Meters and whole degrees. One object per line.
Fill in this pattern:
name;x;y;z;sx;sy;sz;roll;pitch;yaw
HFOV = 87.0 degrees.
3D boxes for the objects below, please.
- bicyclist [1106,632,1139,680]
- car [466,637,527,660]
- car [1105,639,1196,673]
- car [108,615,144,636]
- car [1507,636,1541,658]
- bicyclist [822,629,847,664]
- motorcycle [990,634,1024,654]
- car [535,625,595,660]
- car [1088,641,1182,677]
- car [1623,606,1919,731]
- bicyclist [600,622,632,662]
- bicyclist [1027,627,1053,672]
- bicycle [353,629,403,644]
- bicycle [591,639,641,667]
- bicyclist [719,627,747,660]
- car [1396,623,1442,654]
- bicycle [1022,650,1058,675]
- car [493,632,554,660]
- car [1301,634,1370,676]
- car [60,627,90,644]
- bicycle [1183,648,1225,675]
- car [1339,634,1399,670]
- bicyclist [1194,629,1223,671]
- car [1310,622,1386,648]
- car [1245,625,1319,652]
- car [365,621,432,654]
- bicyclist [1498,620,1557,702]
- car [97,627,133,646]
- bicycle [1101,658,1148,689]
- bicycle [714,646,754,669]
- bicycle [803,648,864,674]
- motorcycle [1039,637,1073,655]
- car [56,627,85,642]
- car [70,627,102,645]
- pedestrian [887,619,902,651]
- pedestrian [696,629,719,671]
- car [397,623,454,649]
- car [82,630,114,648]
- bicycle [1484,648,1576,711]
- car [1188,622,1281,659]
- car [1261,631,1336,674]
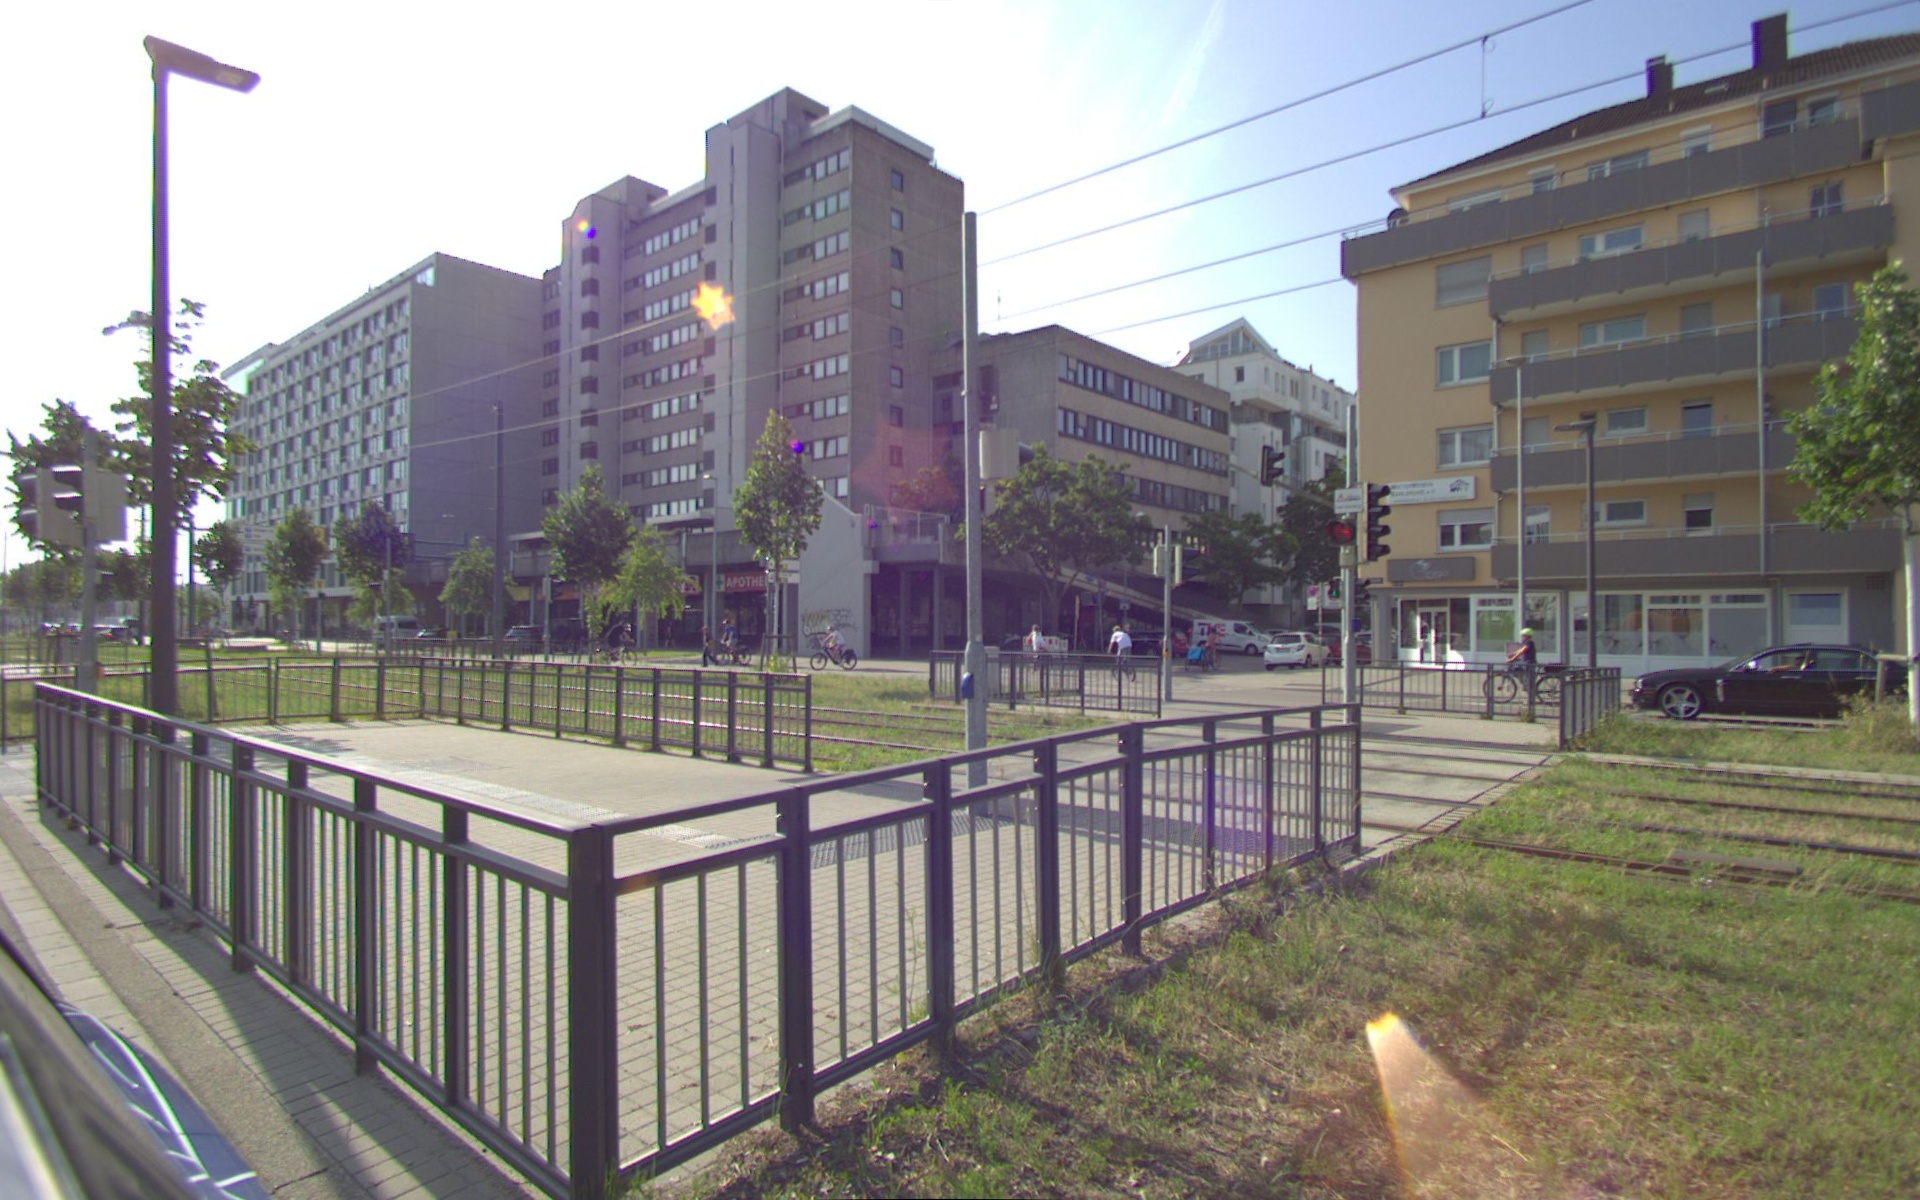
bicyclist;5.083;1.736;31.617;0.676;1.451;0.808;-1;0;-21
car;-28.767;2.985;62.894;1.854;1.253;4.109;-1;0;1
car;10.094;2.943;53.785;4.374;1.640;1.891;-1;0;38
car;-89.640;2.750;108.769;5.330;2.256;2.025;-1;-2;40
car;43.283;3.554;77.603;1.812;1.616;3.904;-1;-2;36
bicyclist;-4.983;1.853;40.149;0.898;1.396;0.705;1;-4;-15
motorcycle;2.484;2.345;53.871;1.945;1.025;0.487;-2;-2;42
car;-22.932;2.436;58.914;1.854;1.983;4.109;0;-2;1
car;8.907;2.976;51.665;4.374;1.640;1.891;-1;0;38
car;15.162;1.155;18.143;5.297;2.029;1.974;-1;-2;39
bicyclist;-12.629;1.544;37.153;0.958;1.406;0.547;5;-6;-37
bicyclist;2.733;1.682;34.787;0.610;1.511;0.989;0;-2;-14
bicycle;-54.823;3.447;95.335;3.937;1.377;1.128;1;-2;-40
bicycle;-12.621;1.952;37.130;1.586;0.942;0.559;5;-6;-37
bicyclist;-10.015;1.900;44.658;0.684;1.451;1.011;-2;-2;37
car;30.436;2.531;67.083;1.810;2.029;3.947;-2;-3;39
bicycle;2.734;2.126;34.775;0.619;0.799;2.008;0;-2;-14
car;-26.058;2.731;60.564;1.854;1.618;4.109;0;-2;1
car;16.257;2.318;43.693;1.772;1.701;3.751;-1;-2;37
car;-83.600;3.364;95.573;4.001;1.586;1.787;-2;-2;44
bicycle;9.559;2.378;39.520;0.896;0.972;2.968;-1;-2;28
car;19.356;2.435;47.847;1.812;1.616;3.905;-1;-2;35
bicyclist;9.813;1.975;39.990;0.888;1.641;0.884;-1;-2;29
car;28.112;2.495;73.444;4.768;1.833;1.973;-1;-2;41
car;20.241;2.380;63.708;3.998;1.630;1.973;-1;-2;41
car;-40.930;2.711;73.924;1.859;2.326;5.407;0;-2;1
bicyclist;12.931;1.369;23.058;1.082;1.819;0.662;-1;-2;37
car;-68.842;2.989;82.473;4.001;1.492;1.787;-2;-2;44
bicycle;5.111;2.282;31.564;0.708;0.804;1.609;-1;0;-21
bicycle;-9.971;2.523;44.684;0.684;0.998;1.646;-2;-2;37
bicycle;-5.019;2.408;40.123;2.307;1.007;0.709;0;-2;-15
motorcycle;5.388;2.582;56.858;1.945;1.025;0.487;-2;-2;42
car;-87.953;3.430;100.081;4.001;1.486;1.787;-2;-2;44
car;-79.461;3.292;91.989;4.001;1.586;1.787;-2;-2;44
pedestrian;-3.673;1.974;56.844;0.622;1.790;0.693;-1;-2;28
pedestrian;-10.419;2.056;41.752;0.646;1.703;0.651;-2;-3;44
car;-36.506;2.423;69.244;2.070;1.594;4.005;-2;0;-6
car;-74.723;3.394;87.705;3.642;1.498;1.722;-2;-2;44
bicycle;12.956;1.778;23.037;1.754;1.356;0.688;-1;-2;36
car;15.891;2.309;58.697;4.830;1.983;1.973;0;-2;41
car;13.539;2.072;40.405;1.706;1.596;3.589;-4;-4;37
